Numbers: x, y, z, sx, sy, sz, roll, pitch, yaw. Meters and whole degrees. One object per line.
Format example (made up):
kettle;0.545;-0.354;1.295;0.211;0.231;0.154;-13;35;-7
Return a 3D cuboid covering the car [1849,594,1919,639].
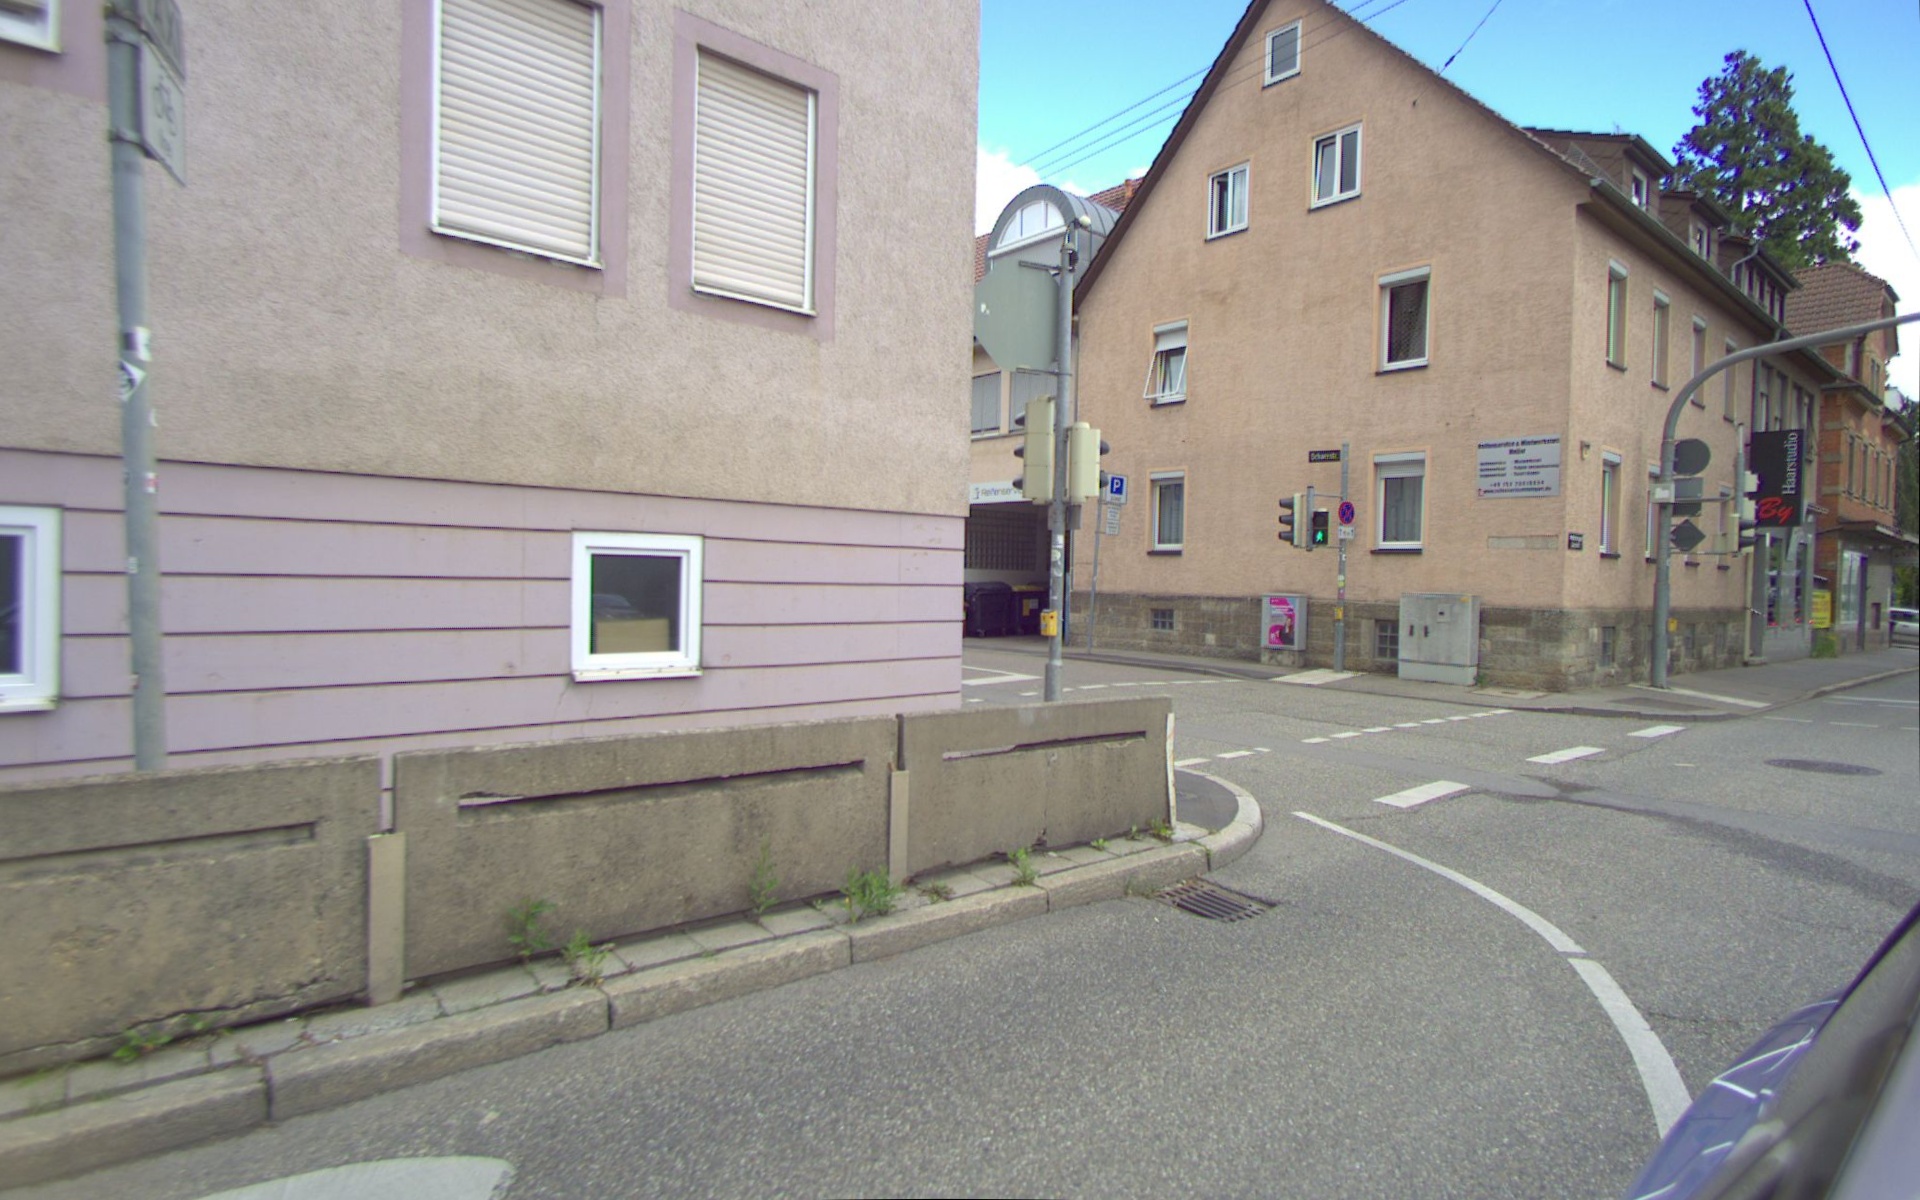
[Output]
car;36.574;0.718;38.408;1.573;1.487;4.038;0;6;-42

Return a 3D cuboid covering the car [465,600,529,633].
car;-22.299;0.758;48.706;1.845;1.460;3.995;0;1;-40

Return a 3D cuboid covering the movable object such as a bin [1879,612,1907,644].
movable object such as a bin;33.722;1.004;36.585;0.611;1.114;0.608;0;3;-40
